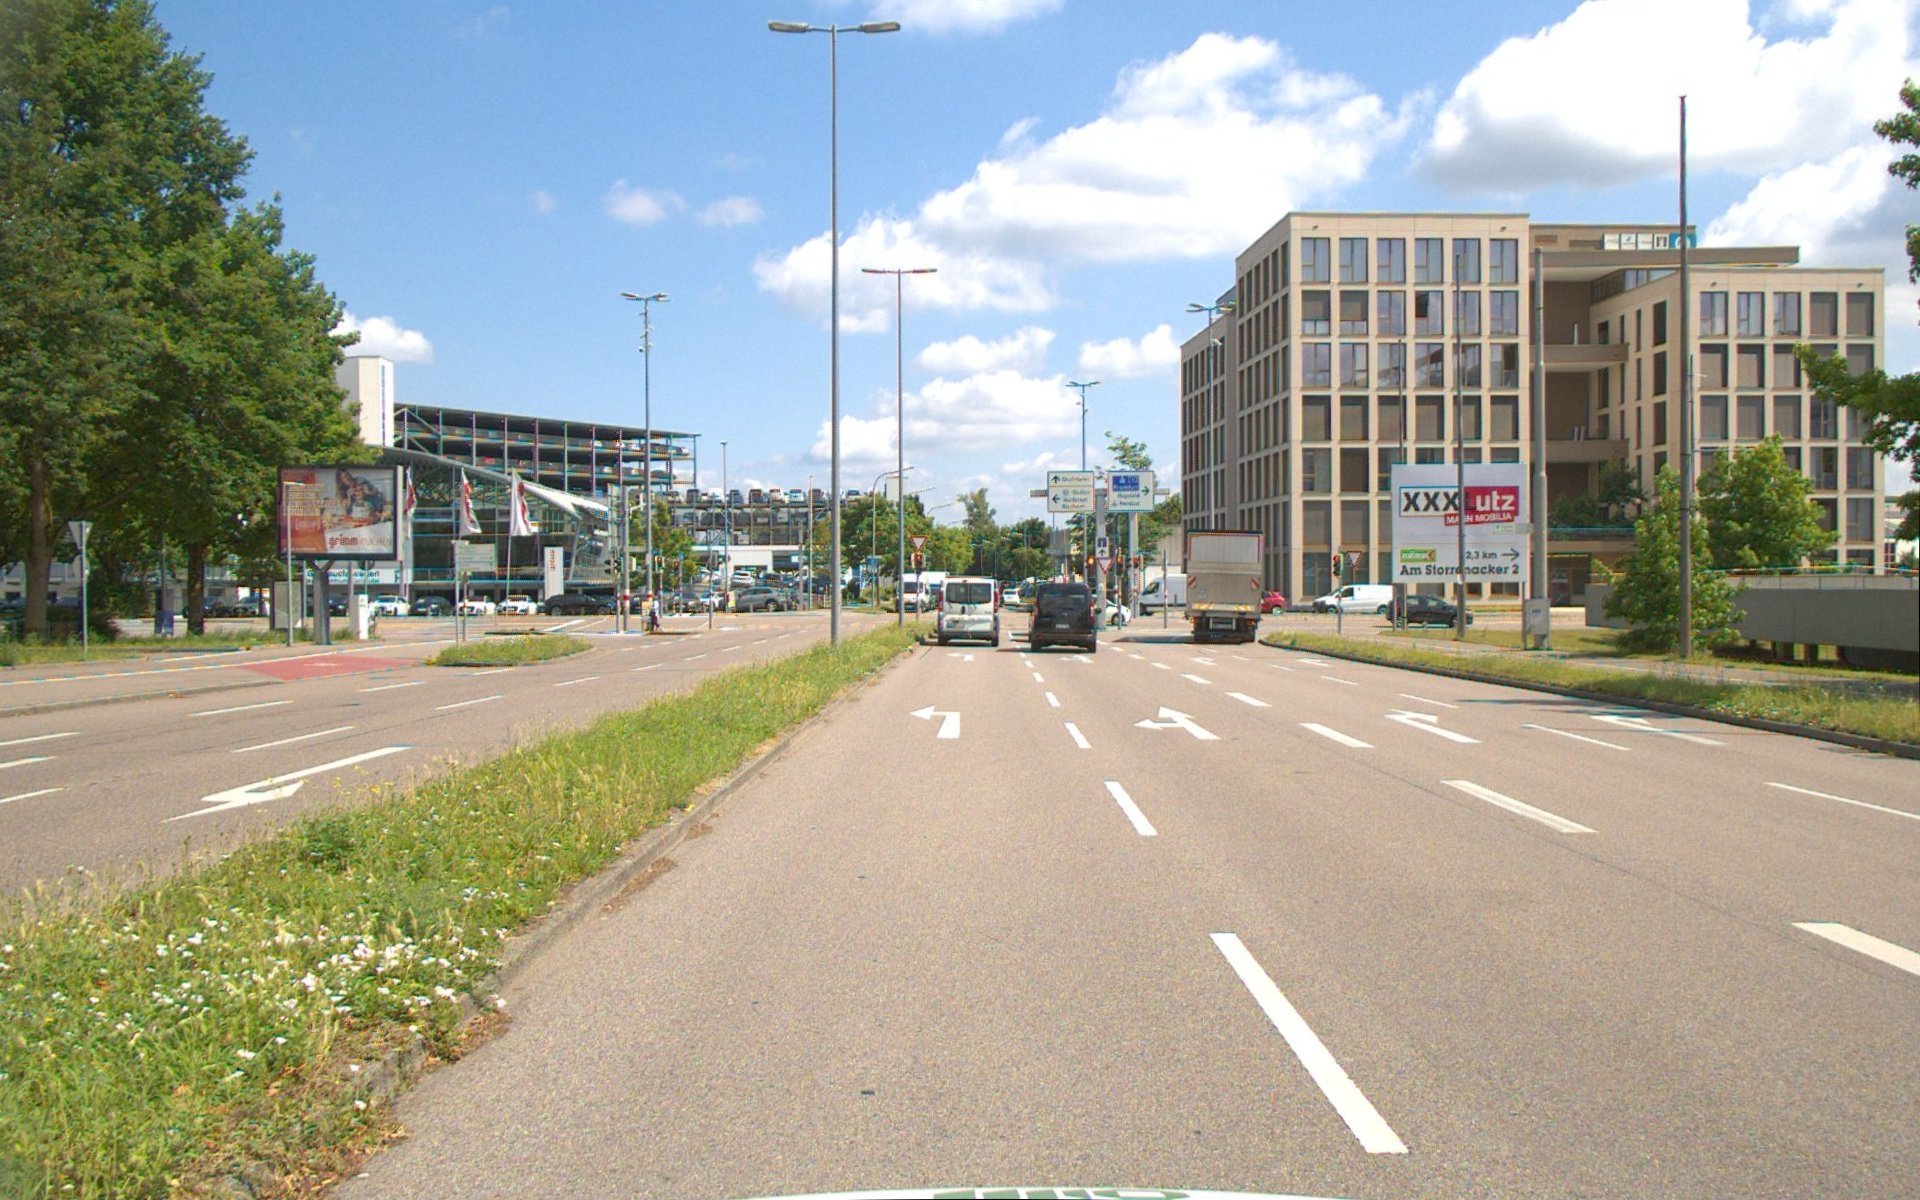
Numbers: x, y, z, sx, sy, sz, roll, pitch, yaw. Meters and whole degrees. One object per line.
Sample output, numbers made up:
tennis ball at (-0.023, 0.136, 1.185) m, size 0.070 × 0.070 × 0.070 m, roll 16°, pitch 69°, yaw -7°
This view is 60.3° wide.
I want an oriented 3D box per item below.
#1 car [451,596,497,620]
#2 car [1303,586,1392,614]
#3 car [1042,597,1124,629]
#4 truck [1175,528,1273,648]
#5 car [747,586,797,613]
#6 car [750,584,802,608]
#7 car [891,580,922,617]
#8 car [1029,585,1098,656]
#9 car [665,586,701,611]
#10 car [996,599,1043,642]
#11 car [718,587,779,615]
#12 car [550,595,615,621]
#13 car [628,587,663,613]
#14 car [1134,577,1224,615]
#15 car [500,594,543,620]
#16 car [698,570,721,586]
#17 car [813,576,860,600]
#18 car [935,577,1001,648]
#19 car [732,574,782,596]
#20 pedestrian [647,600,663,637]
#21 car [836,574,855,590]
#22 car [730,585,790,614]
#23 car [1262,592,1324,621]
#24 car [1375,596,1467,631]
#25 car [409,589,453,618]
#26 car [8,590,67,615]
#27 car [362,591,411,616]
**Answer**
car at (-30.107, 0.484, 102.565) m, size 1.869 × 1.400 × 3.750 m, roll 0°, pitch 1°, yaw -3°
car at (23.246, 0.014, 99.366) m, size 4.882 × 1.635 × 1.999 m, roll 0°, pitch 1°, yaw -2°
car at (5.866, 0.609, 79.281) m, size 3.773 × 1.492 × 1.695 m, roll 0°, pitch 1°, yaw -2°
truck at (9.627, -0.484, 59.580) m, size 3.063 × 4.009 × 8.866 m, roll 0°, pitch 1°, yaw 12°
car at (-13.467, -0.044, 118.818) m, size 3.438 × 1.742 × 1.603 m, roll -2°, pitch 1°, yaw -3°
car at (-14.021, -0.313, 126.057) m, size 3.834 × 1.742 × 1.688 m, roll -2°, pitch 1°, yaw -3°
car at (-3.591, -0.132, 111.095) m, size 1.931 × 2.295 × 4.980 m, roll -2°, pitch 1°, yaw -1°
car at (2.845, 0.530, 45.541) m, size 1.781 × 1.840 × 4.002 m, roll 1°, pitch 0°, yaw 4°
car at (-17.345, -0.103, 103.513) m, size 1.788 × 1.579 × 3.983 m, roll 0°, pitch 0°, yaw -16°
car at (2.266, 0.750, 63.261) m, size 1.704 × 1.570 × 4.001 m, roll 1°, pitch 0°, yaw 1°
car at (-13.827, 0.058, 108.308) m, size 3.785 × 1.668 × 1.857 m, roll -2°, pitch 1°, yaw -3°
car at (-23.413, 0.493, 102.621) m, size 3.717 × 1.539 × 1.678 m, roll 0°, pitch 1°, yaw -5°
car at (-19.567, -0.021, 102.909) m, size 1.788 × 1.579 × 3.983 m, roll 0°, pitch 0°, yaw -16°
car at (13.913, -0.281, 105.079) m, size 5.383 × 2.294 × 2.000 m, roll 0°, pitch 1°, yaw 21°
car at (-27.215, 0.423, 102.760) m, size 1.740 × 1.475 × 4.027 m, roll 0°, pitch 1°, yaw -3°
car at (-24.562, -2.198, 162.185) m, size 1.809 × 1.556 × 3.998 m, roll 0°, pitch 1°, yaw -4°
car at (-10.502, -1.002, 140.149) m, size 3.910 × 1.959 × 1.824 m, roll 0°, pitch 0°, yaw -6°
car at (0.289, 0.420, 50.030) m, size 1.817 × 2.054 × 4.001 m, roll 0°, pitch -2°, yaw 3°
car at (-17.035, -1.262, 139.234) m, size 4.084 × 1.742 × 1.687 m, roll 1°, pitch 1°, yaw -5°
pedestrian at (-12.783, 0.754, 69.320) m, size 0.460 × 1.538 × 0.511 m, roll 0°, pitch 0°, yaw 26°
car at (-11.150, -1.775, 160.907) m, size 1.809 × 1.556 × 3.998 m, roll 0°, pitch 1°, yaw -4°
car at (-13.421, -0.040, 111.082) m, size 3.834 × 1.742 × 1.688 m, roll -2°, pitch 1°, yaw -3°
car at (18.863, 0.355, 93.797) m, size 3.207 × 1.429 × 1.335 m, roll 0°, pitch 9°, yaw -2°
car at (21.773, 0.639, 78.252) m, size 4.056 × 1.529 × 1.628 m, roll -2°, pitch 1°, yaw 12°
car at (-32.662, 0.184, 102.189) m, size 1.722 × 1.689 × 3.615 m, roll 0°, pitch 1°, yaw -3°
car at (-56.664, 0.141, 101.635) m, size 1.693 × 1.512 × 3.699 m, roll 0°, pitch 1°, yaw -3°
car at (-35.420, 0.207, 102.230) m, size 1.841 × 1.512 × 3.699 m, roll 0°, pitch 1°, yaw -3°
